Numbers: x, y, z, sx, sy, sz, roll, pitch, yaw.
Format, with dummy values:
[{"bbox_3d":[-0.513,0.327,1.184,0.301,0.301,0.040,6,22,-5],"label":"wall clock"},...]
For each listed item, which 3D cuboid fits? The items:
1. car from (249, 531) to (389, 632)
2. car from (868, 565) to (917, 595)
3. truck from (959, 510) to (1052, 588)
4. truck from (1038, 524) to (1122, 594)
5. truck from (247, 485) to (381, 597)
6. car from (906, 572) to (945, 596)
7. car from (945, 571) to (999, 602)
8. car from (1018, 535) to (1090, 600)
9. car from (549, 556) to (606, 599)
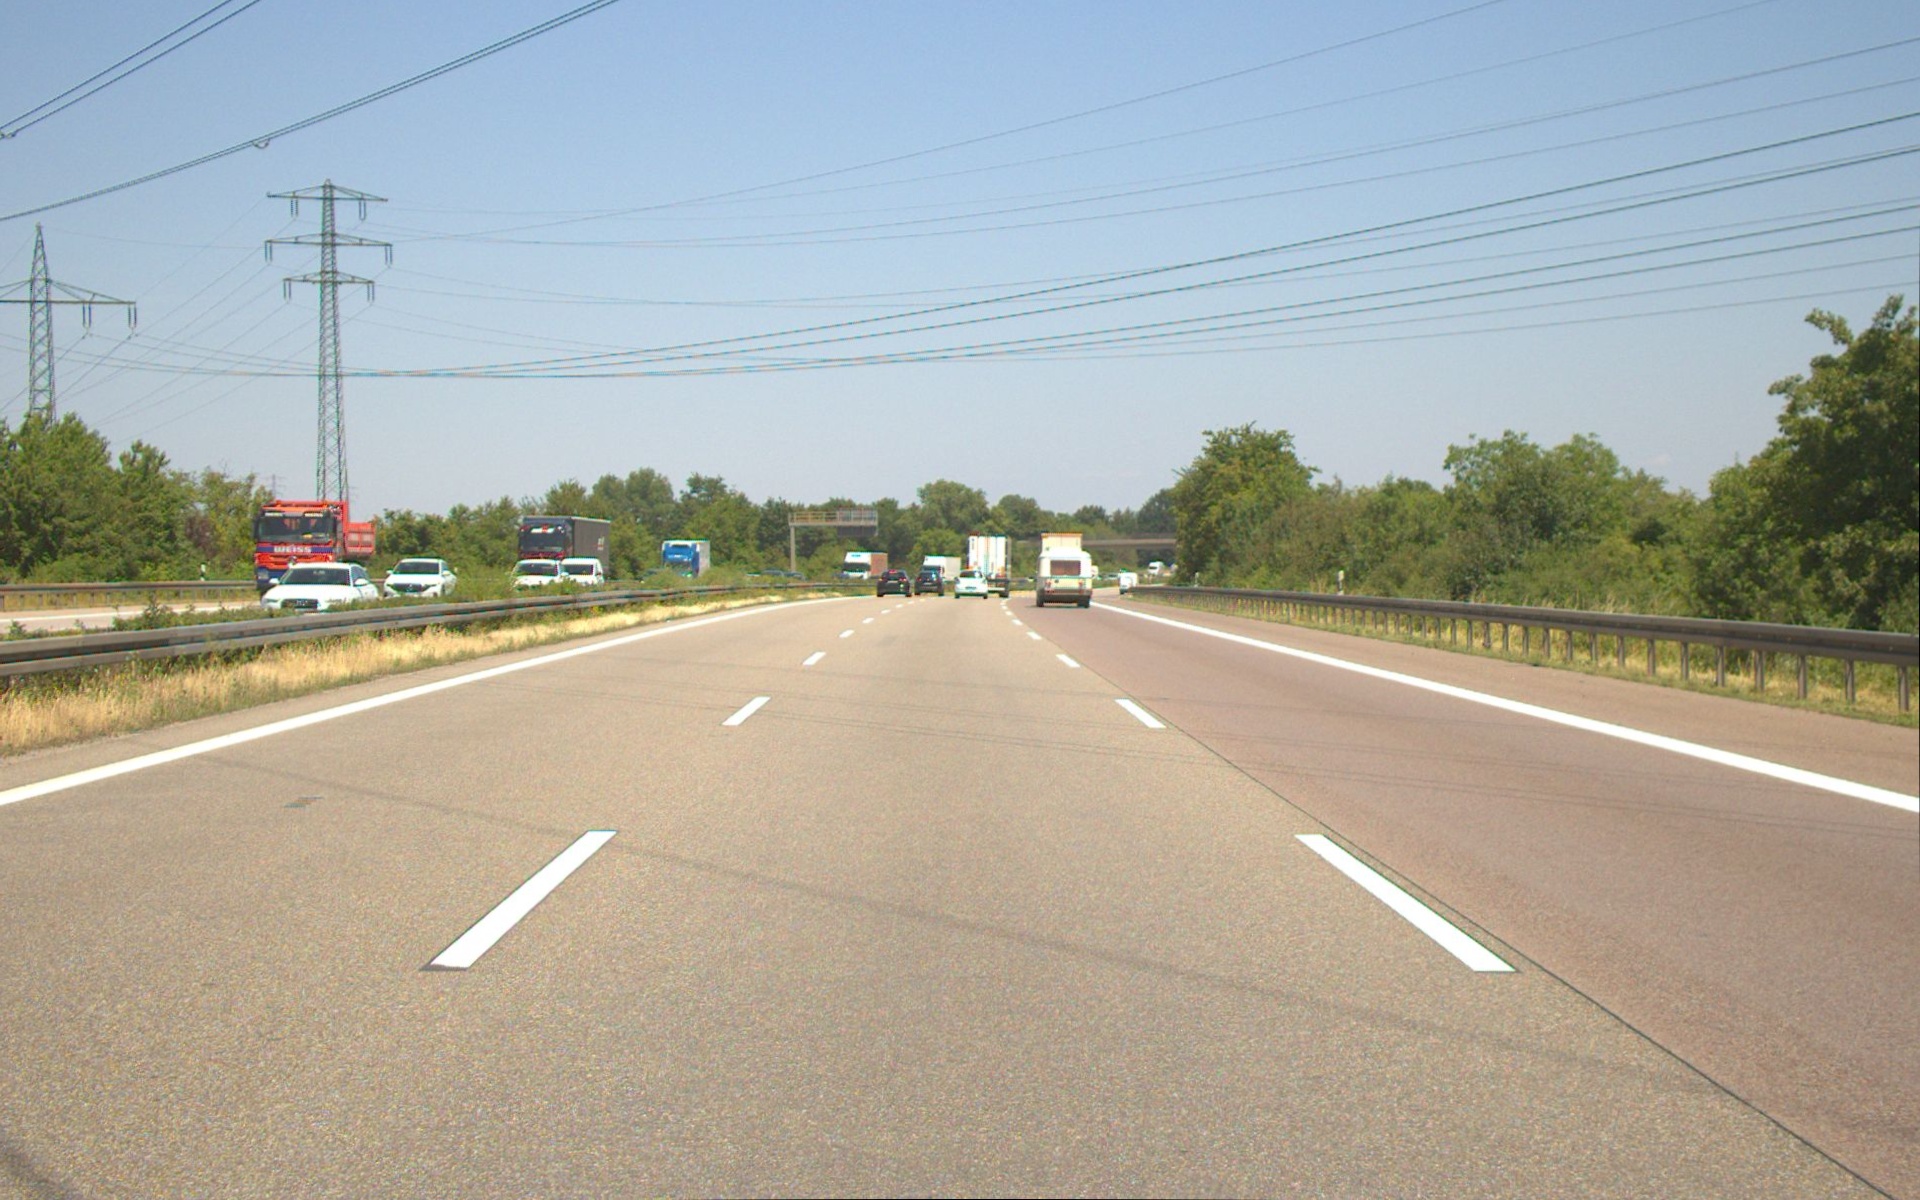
[{"bbox_3d":[-13.468,-0.416,72.507,1.993,2.007,4.921,1,1,0],"label":"car"},{"bbox_3d":[-3.600,-1.078,184.838,1.828,1.542,4.317,2,1,9],"label":"car"},{"bbox_3d":[3.155,-3.427,229.978,3.668,5.001,16.011,1,1,10],"label":"truck"},{"bbox_3d":[7.919,-2.729,224.400,3.182,4.289,16.011,1,1,10],"label":"truck"},{"bbox_3d":[-21.213,-1.962,113.329,2.770,3.514,8.534,1,1,0],"label":"truck"},{"bbox_3d":[-2.287,-1.085,230.848,1.828,1.542,4.317,2,1,9],"label":"car"},{"bbox_3d":[0.655,-0.697,180.756,1.829,1.542,4.316,2,1,14],"label":"car"},{"bbox_3d":[3.432,-1.213,126.779,2.442,2.313,5.322,0,1,-1],"label":"car"},{"bbox_3d":[-16.525,-0.991,148.788,1.971,1.767,4.368,1,1,0],"label":"car"}]
